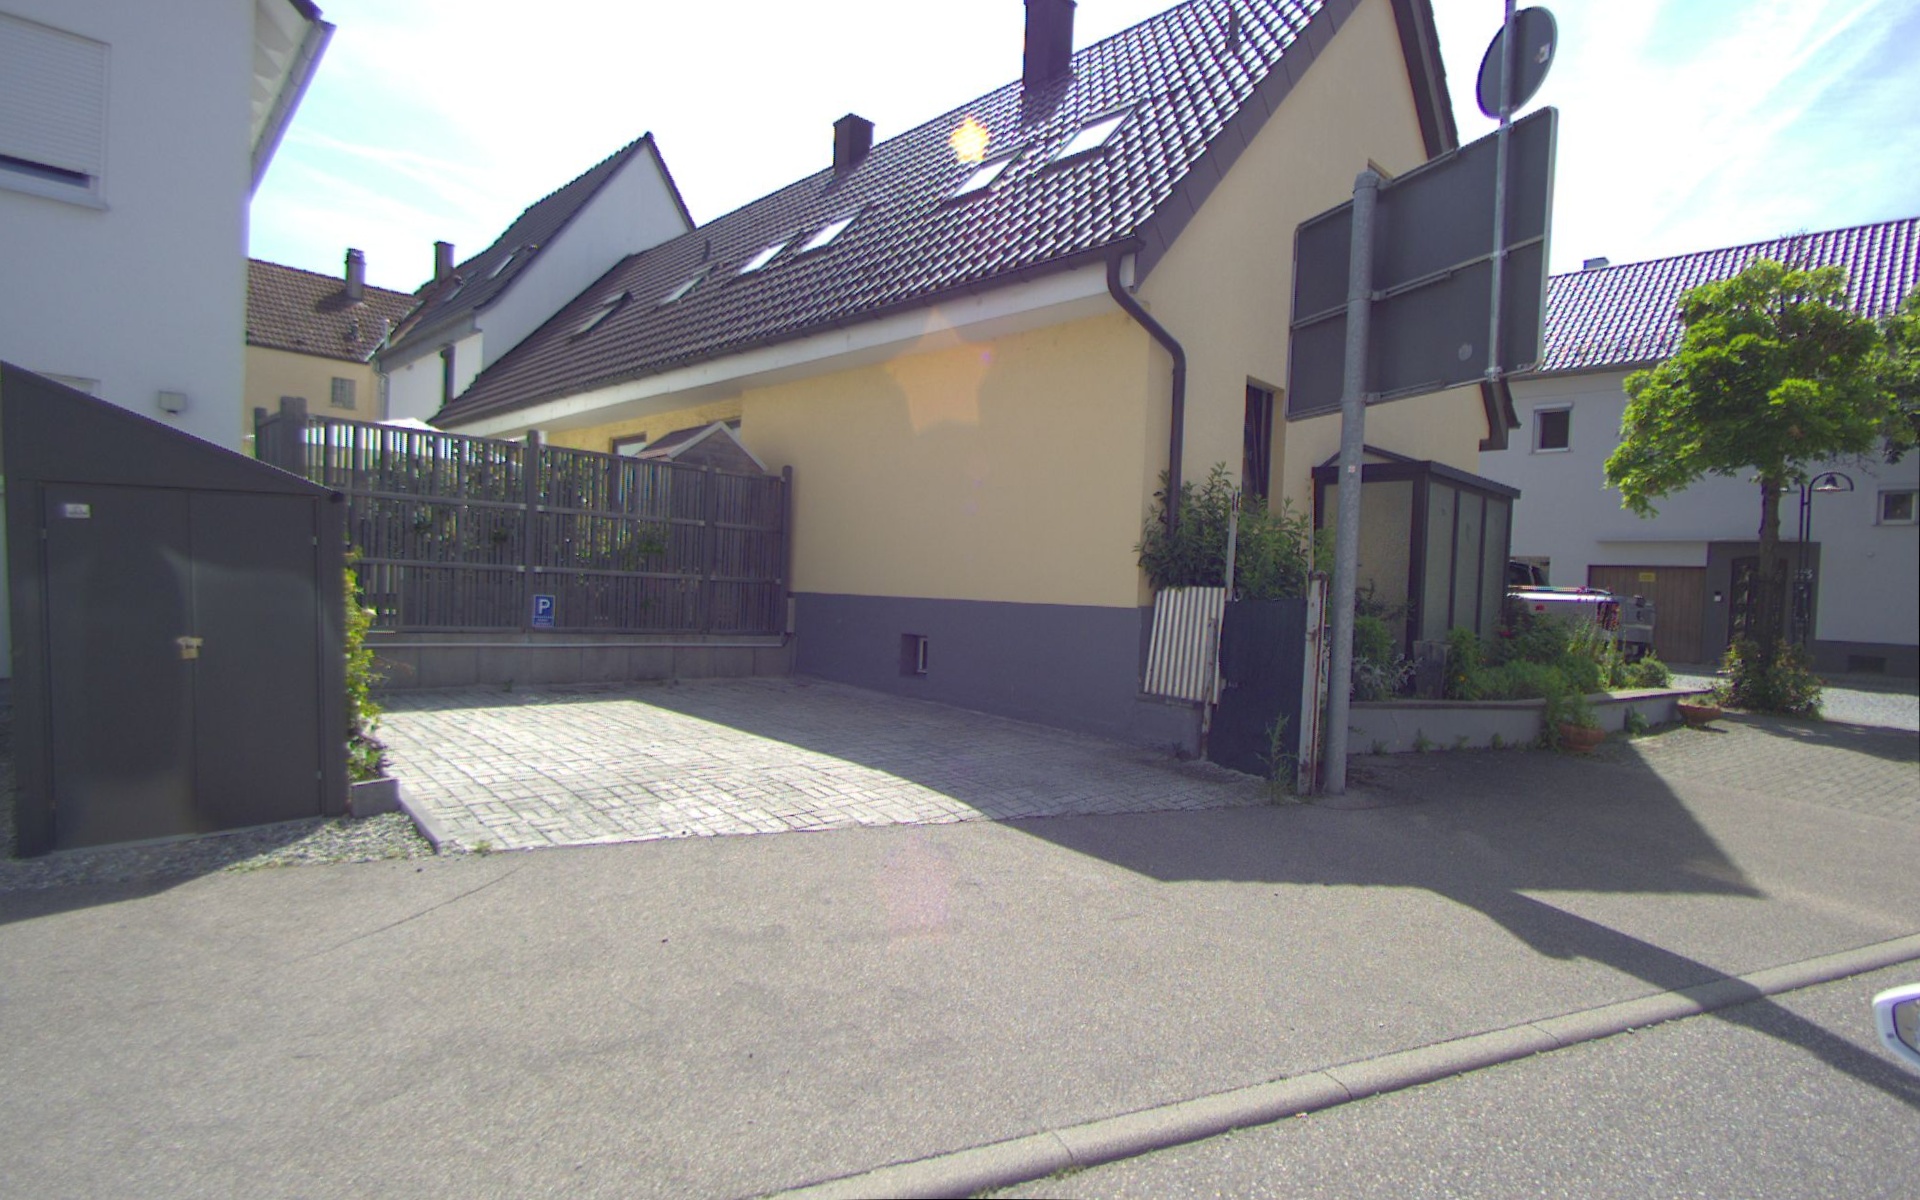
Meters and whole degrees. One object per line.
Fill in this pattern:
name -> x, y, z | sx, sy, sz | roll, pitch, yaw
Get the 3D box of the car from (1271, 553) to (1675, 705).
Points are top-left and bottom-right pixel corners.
car -> 7.583, 0.308, 15.379 | 2.156, 1.922, 5.066 | 1, 1, -38
